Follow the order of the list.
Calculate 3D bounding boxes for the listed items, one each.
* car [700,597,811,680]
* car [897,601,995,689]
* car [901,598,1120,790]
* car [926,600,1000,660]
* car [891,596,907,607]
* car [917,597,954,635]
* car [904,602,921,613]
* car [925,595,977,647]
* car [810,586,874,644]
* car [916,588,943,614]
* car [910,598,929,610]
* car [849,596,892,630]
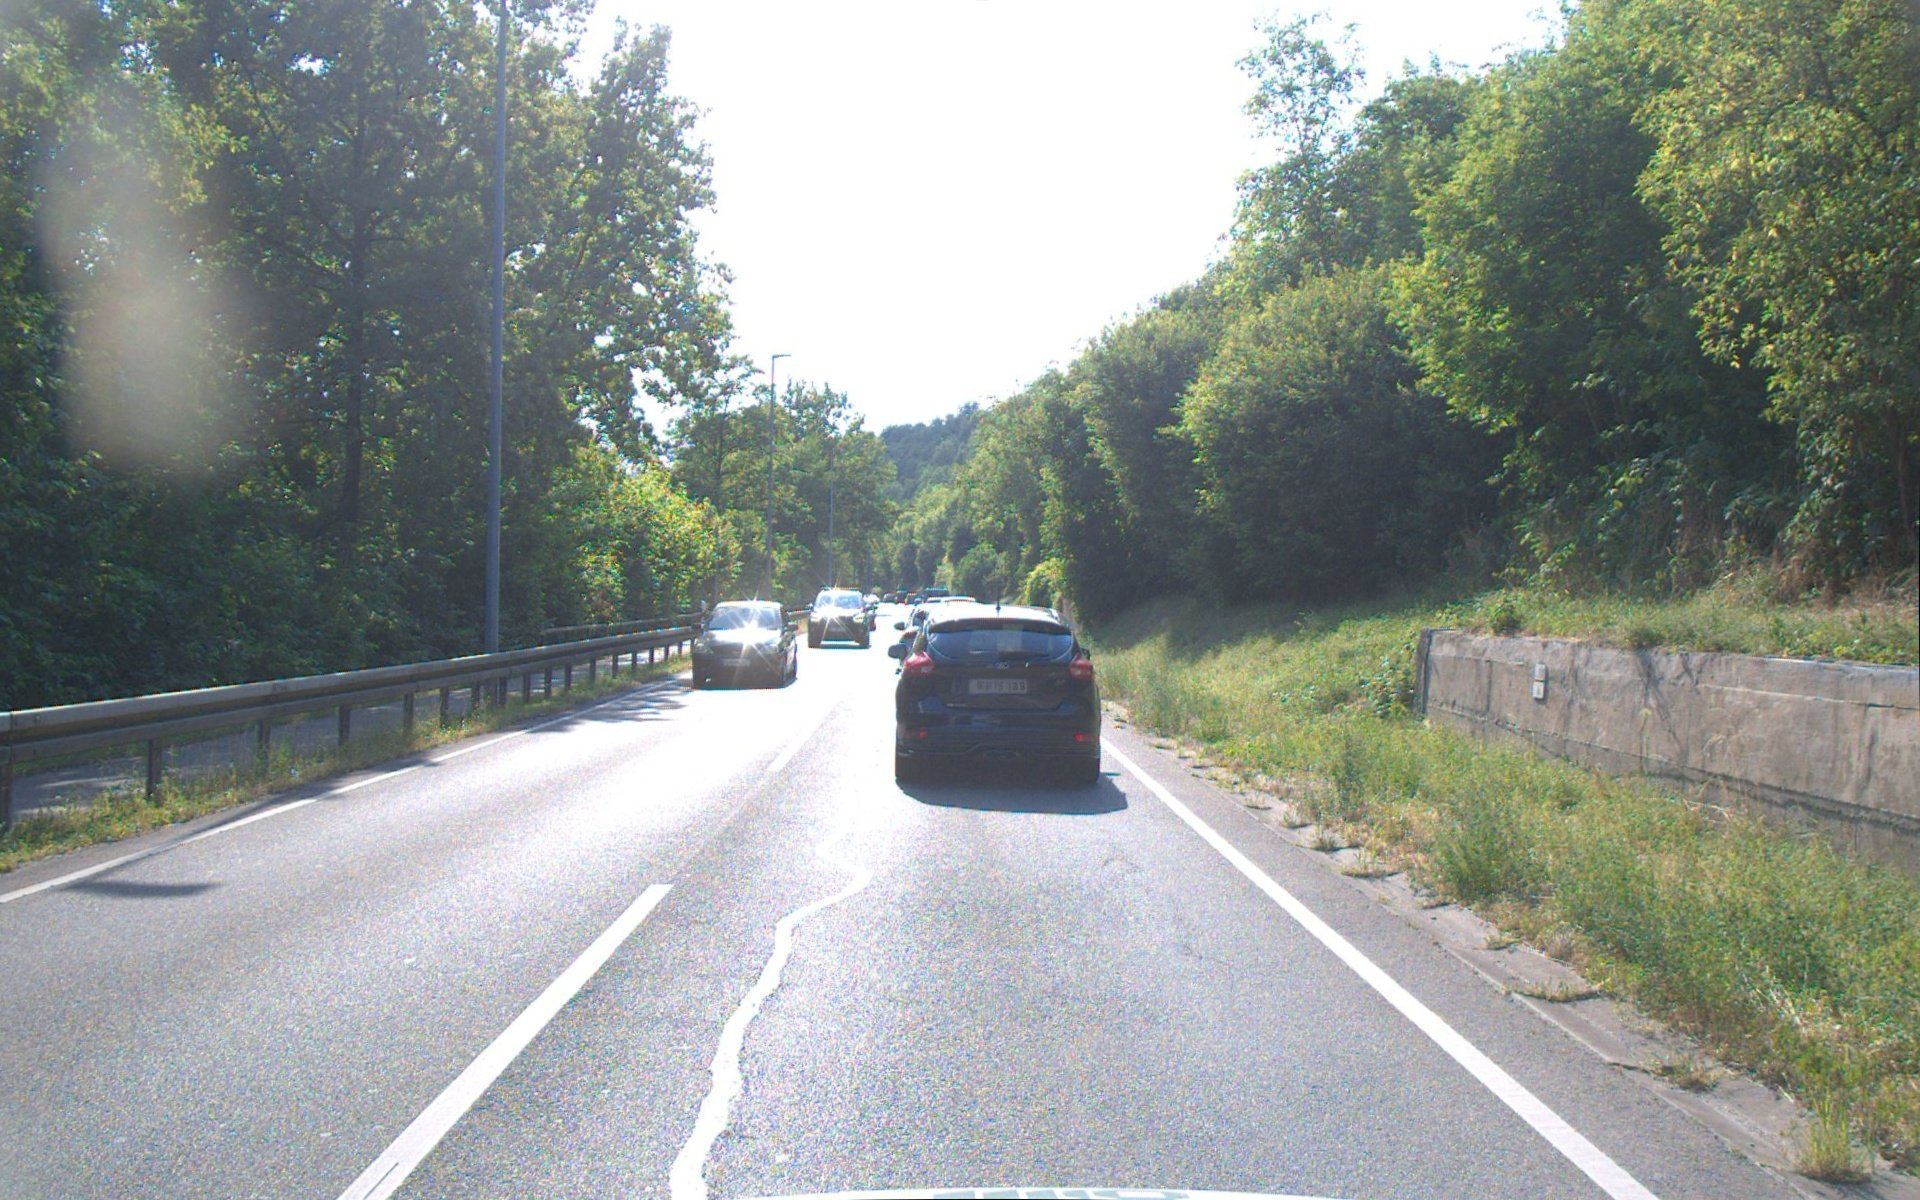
[{"bbox_3d":[-3.845,0.685,31.610,1.647,1.467,4.000,0,0,-1],"label":"car"},{"bbox_3d":[-0.207,0.751,29.600,1.627,1.443,4.000,0,0,1],"label":"car"},{"bbox_3d":[0.374,0.756,15.168,1.704,1.482,3.999,2,0,-1],"label":"car"},{"bbox_3d":[0.051,0.705,41.439,1.768,1.416,3.999,0,0,-1],"label":"car"},{"bbox_3d":[-9.045,0.234,246.311,1.956,1.545,3.993,0,0,-8],"label":"car"},{"bbox_3d":[-1.072,0.670,72.709,1.597,1.624,3.999,0,0,-1],"label":"car"},{"bbox_3d":[-6.676,1.010,233.068,1.956,1.545,3.993,0,0,-8],"label":"car"},{"bbox_3d":[-0.310,0.643,53.331,1.597,1.624,3.999,0,0,-1],"label":"car"},{"bbox_3d":[-3.683,0.460,52.273,1.712,1.747,4.221,0,0,0],"label":"car"},{"bbox_3d":[-2.210,0.070,118.585,1.825,1.812,3.998,0,0,-2],"label":"car"},{"bbox_3d":[-5.169,0.480,212.200,1.956,1.545,3.993,0,0,-8],"label":"car"},{"bbox_3d":[-4.009,0.563,74.604,1.657,1.445,4.142,-1,0,0],"label":"car"}]
